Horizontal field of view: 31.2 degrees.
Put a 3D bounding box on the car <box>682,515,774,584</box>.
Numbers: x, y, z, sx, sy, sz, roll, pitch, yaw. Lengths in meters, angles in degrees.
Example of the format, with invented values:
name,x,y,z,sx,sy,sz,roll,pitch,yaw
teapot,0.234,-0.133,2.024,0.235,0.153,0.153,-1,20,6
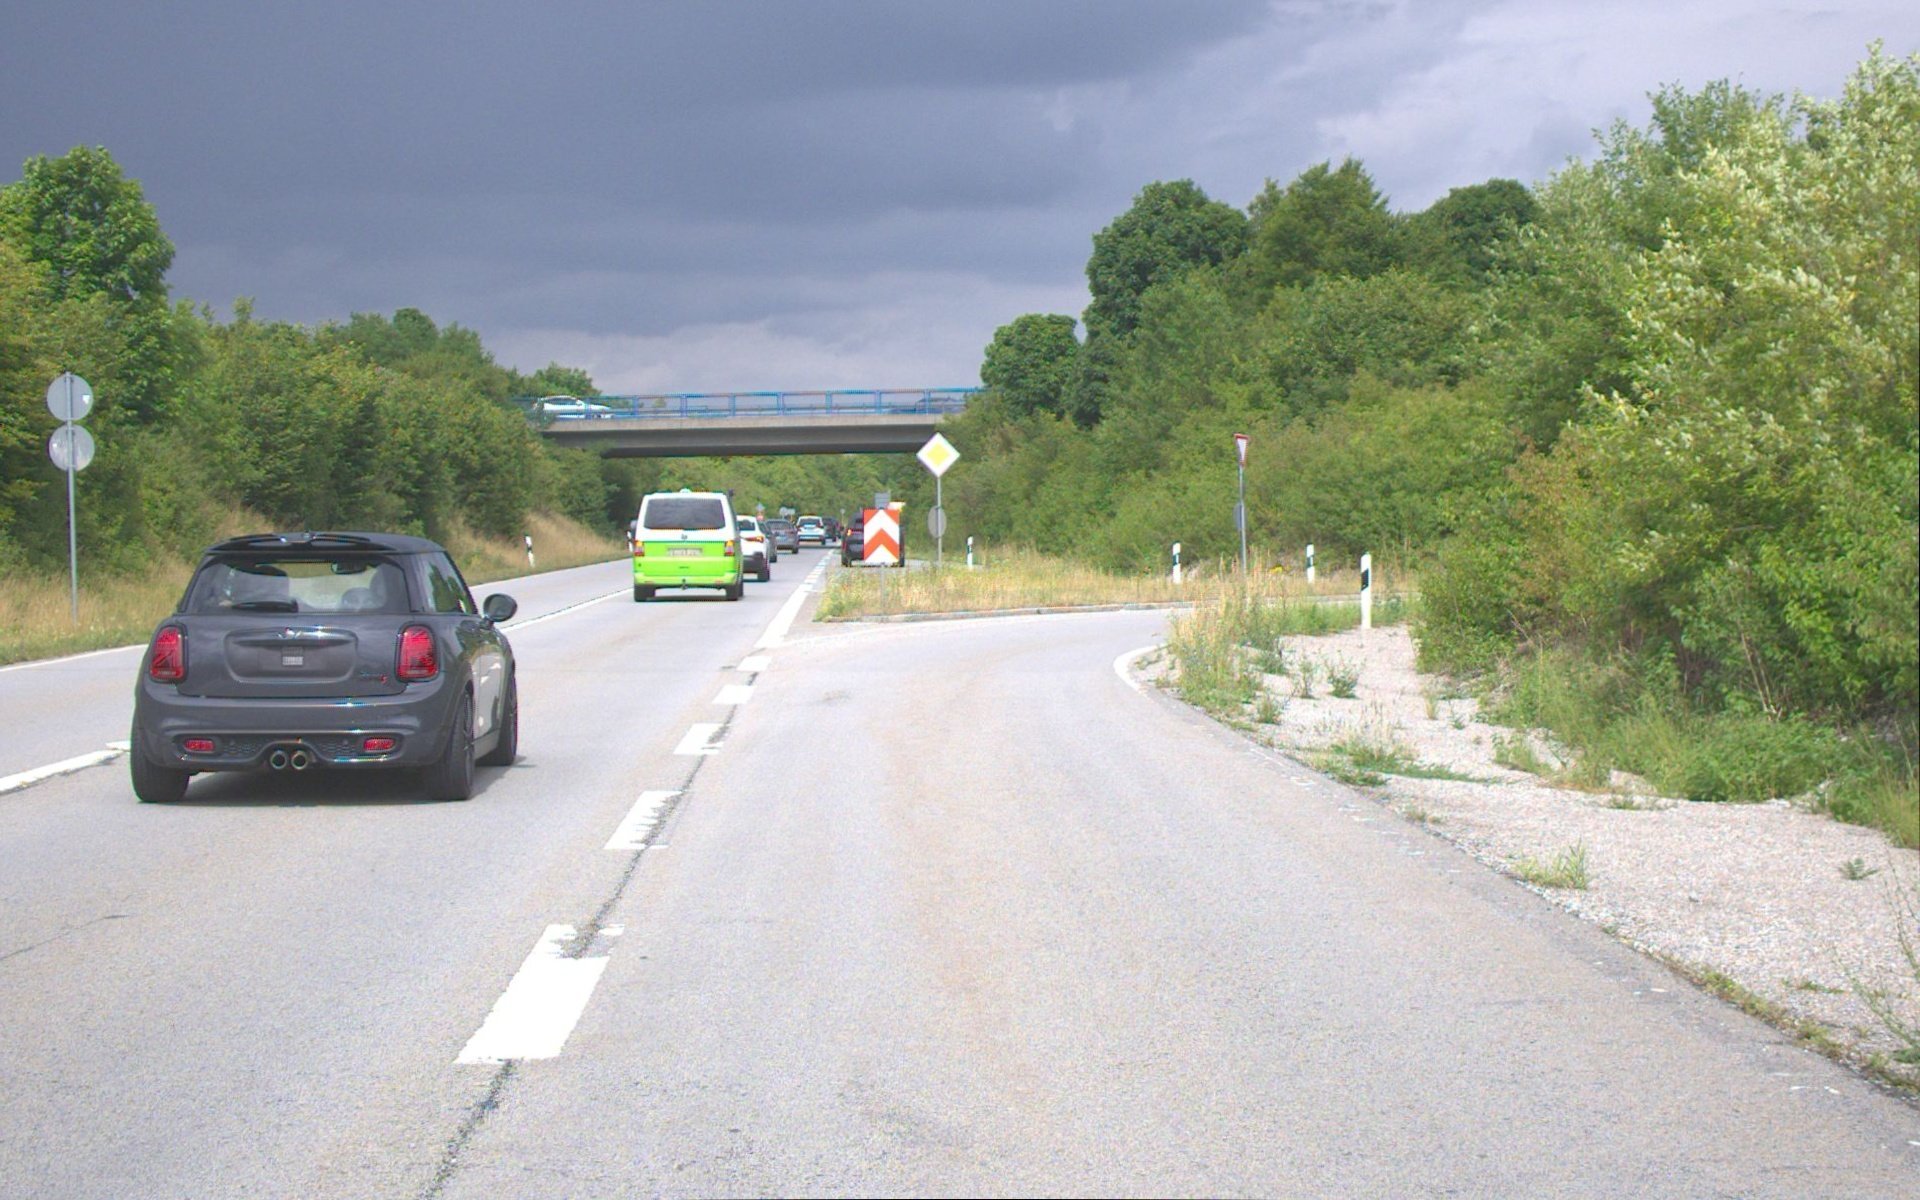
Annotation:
name,x,y,z,sx,sy,sz,roll,pitch,yaw
car,-5.437,-1.214,81.009,1.993,1.546,4.001,1,1,-2

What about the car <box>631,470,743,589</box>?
name,x,y,z,sx,sy,sz,roll,pitch,yaw
car,-4.920,-1.283,62.375,1.819,2.047,4.001,1,1,-2

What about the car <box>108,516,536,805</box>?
name,x,y,z,sx,sy,sz,roll,pitch,yaw
car,-3.446,0.258,19.243,1.756,1.422,4.001,1,1,-2

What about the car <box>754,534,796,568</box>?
name,x,y,z,sx,sy,sz,roll,pitch,yaw
car,-7.774,-2.083,145.034,1.667,1.398,4.001,0,1,-2

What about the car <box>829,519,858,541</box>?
name,x,y,z,sx,sy,sz,roll,pitch,yaw
car,-7.523,-4.496,221.726,1.667,1.398,4.000,1,1,1

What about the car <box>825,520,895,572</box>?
name,x,y,z,sx,sy,sz,roll,pitch,yaw
car,-3.107,-1.673,106.028,1.993,1.546,4.001,1,1,-4

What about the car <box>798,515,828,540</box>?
name,x,y,z,sx,sy,sz,roll,pitch,yaw
car,-8.488,-4.183,198.351,1.667,1.398,4.001,0,1,-2
